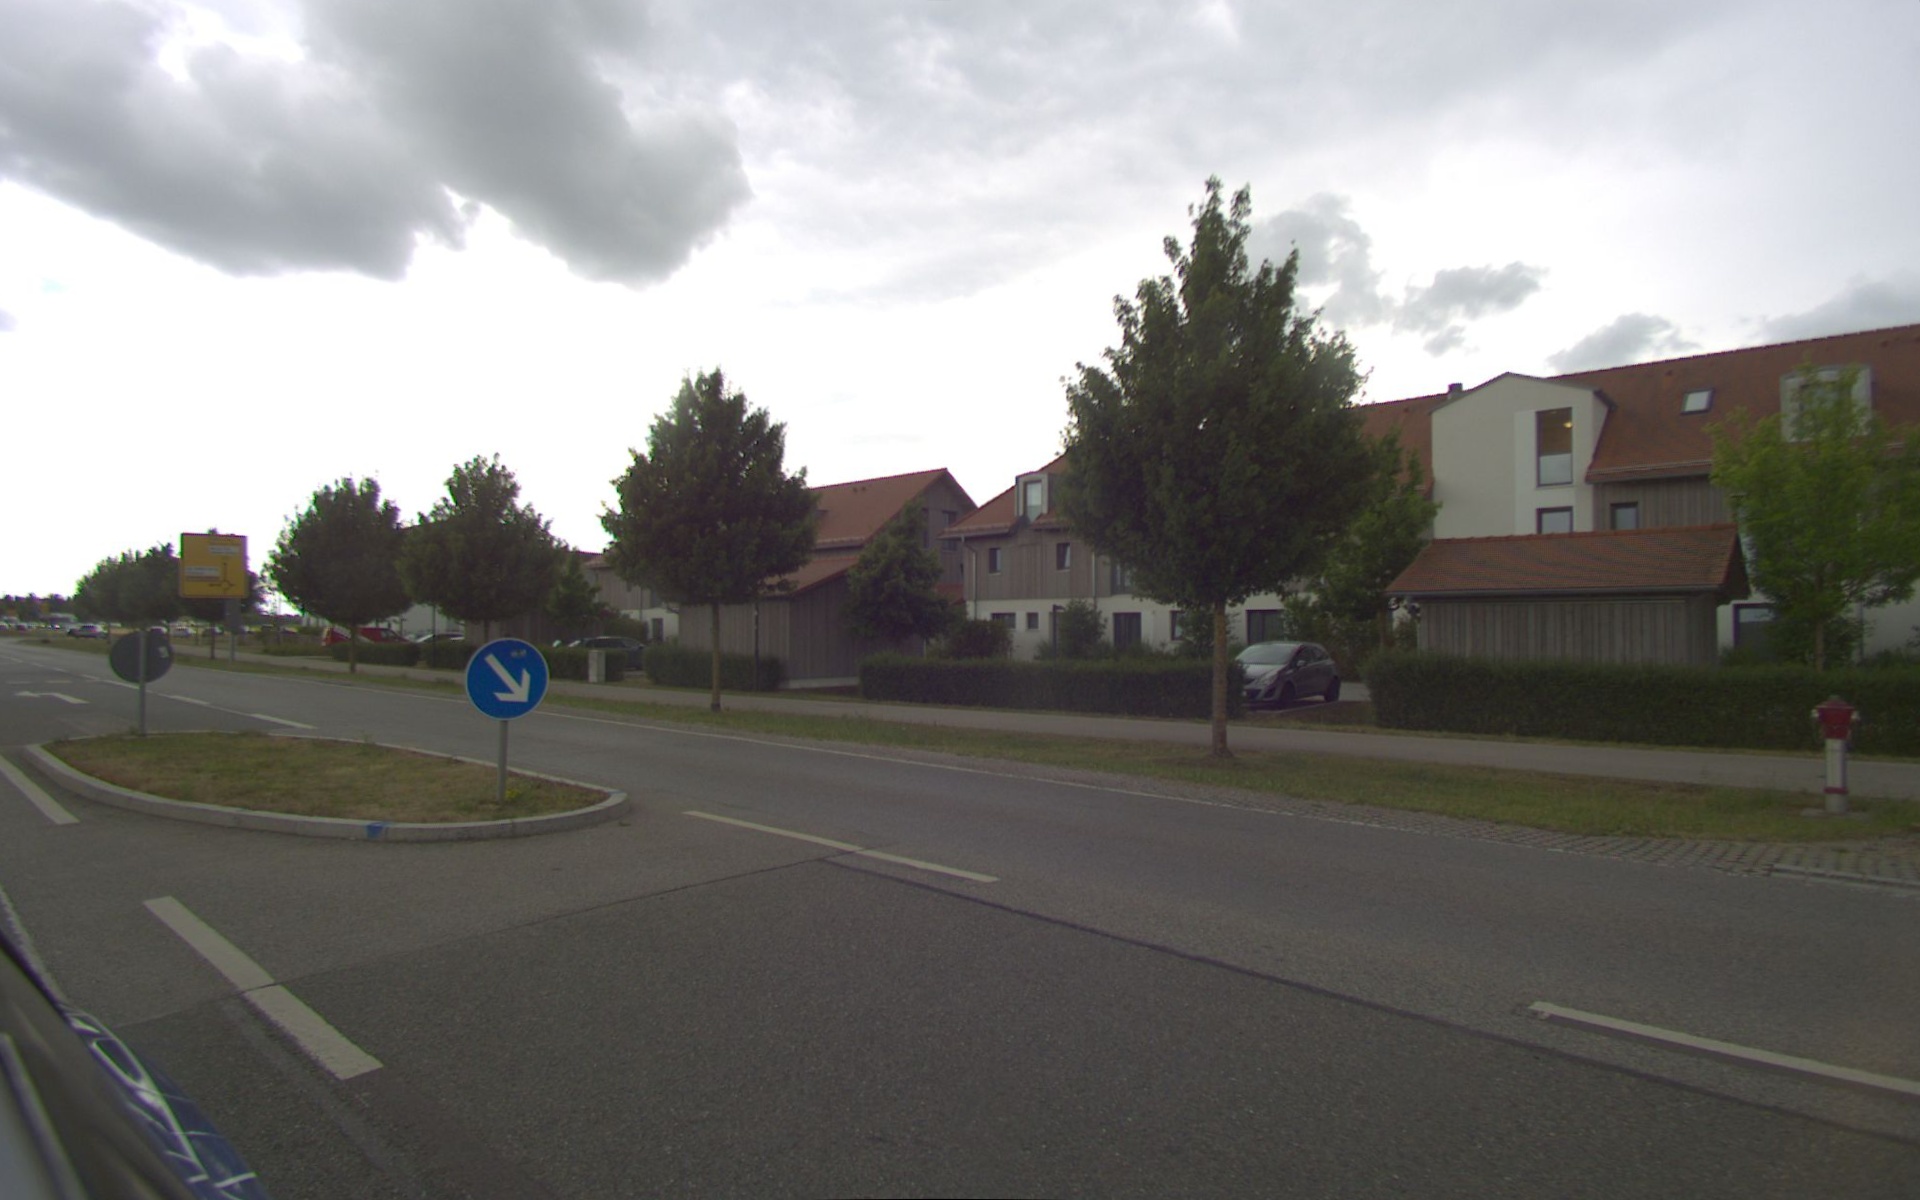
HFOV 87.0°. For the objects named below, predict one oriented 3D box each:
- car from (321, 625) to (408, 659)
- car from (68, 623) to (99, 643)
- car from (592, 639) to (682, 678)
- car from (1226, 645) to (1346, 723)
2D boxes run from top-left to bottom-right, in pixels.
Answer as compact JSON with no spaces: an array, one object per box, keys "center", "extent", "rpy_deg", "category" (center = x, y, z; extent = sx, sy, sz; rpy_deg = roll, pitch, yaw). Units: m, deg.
[{"center":[-38.673,2.696,65.794],"extent":[4.505,2.029,2.002],"rpy_deg":[-1,0,-44],"category":"car"},{"center":[-86.206,3.234,99.570],"extent":[1.967,1.796,4.009],"rpy_deg":[-1,0,-37],"category":"car"},{"center":[-13.913,2.472,43.689],"extent":[1.300,1.450,3.546],"rpy_deg":[-1,0,41],"category":"car"},{"center":[7.462,1.833,23.001],"extent":[1.300,1.450,3.546],"rpy_deg":[-1,0,41],"category":"car"}]
